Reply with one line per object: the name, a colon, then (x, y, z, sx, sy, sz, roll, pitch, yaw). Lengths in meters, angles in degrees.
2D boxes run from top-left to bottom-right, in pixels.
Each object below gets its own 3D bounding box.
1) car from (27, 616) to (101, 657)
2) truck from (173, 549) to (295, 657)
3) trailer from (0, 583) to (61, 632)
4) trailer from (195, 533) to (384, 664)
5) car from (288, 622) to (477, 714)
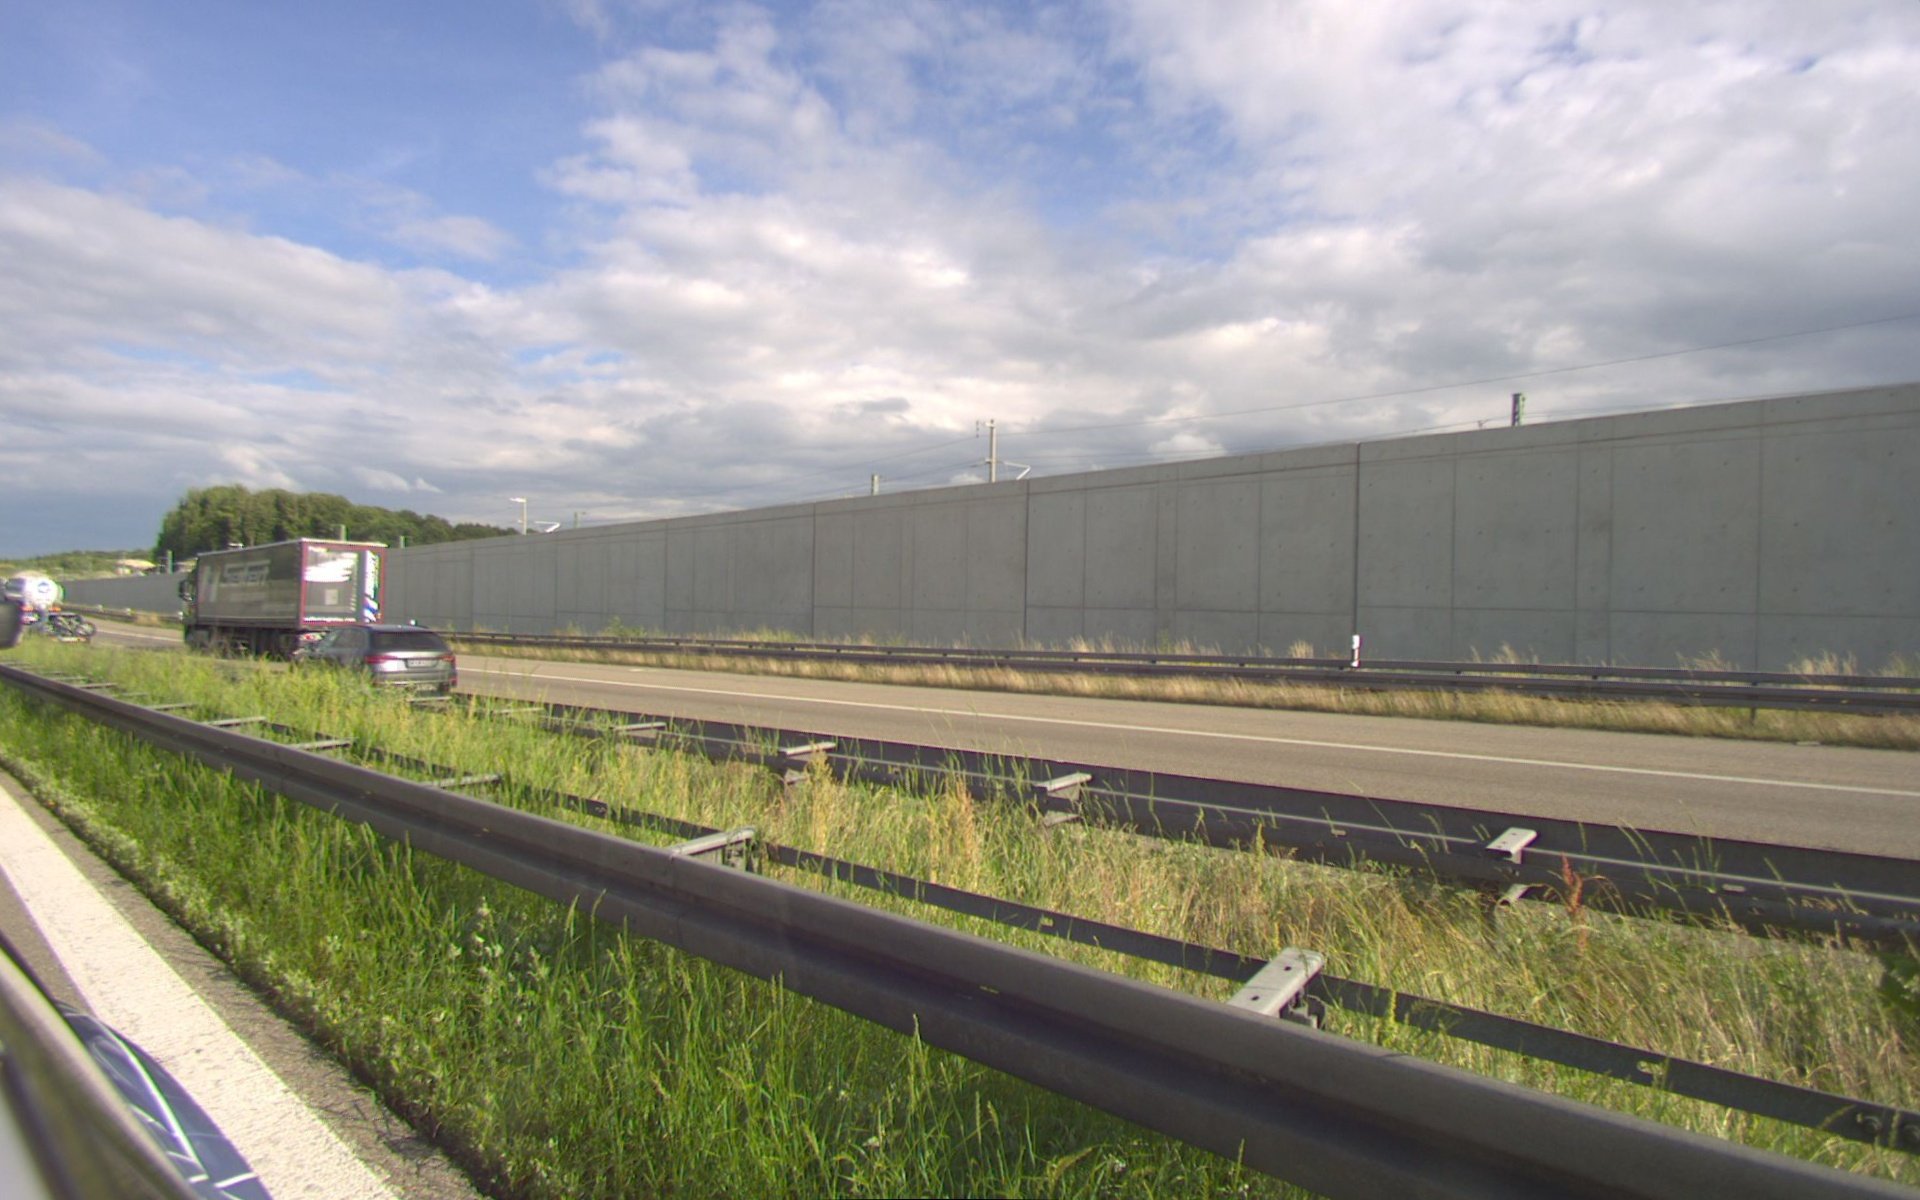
car: (-40.017, 1.575, 45.156, 5.109, 1.644, 1.868, -1, 0, 42)
truck: (-30.240, 0.148, 42.038, 6.951, 4.121, 2.725, -1, -1, 42)
trailer: (-78.297, 0.645, 84.594, 12.525, 3.799, 2.515, 0, -2, 39)
trailer: (-25.093, 0.005, 37.396, 12.901, 4.146, 2.730, -1, -1, 42)
car: (-11.050, 1.190, 19.247, 4.182, 1.475, 1.882, -1, 0, 41)
